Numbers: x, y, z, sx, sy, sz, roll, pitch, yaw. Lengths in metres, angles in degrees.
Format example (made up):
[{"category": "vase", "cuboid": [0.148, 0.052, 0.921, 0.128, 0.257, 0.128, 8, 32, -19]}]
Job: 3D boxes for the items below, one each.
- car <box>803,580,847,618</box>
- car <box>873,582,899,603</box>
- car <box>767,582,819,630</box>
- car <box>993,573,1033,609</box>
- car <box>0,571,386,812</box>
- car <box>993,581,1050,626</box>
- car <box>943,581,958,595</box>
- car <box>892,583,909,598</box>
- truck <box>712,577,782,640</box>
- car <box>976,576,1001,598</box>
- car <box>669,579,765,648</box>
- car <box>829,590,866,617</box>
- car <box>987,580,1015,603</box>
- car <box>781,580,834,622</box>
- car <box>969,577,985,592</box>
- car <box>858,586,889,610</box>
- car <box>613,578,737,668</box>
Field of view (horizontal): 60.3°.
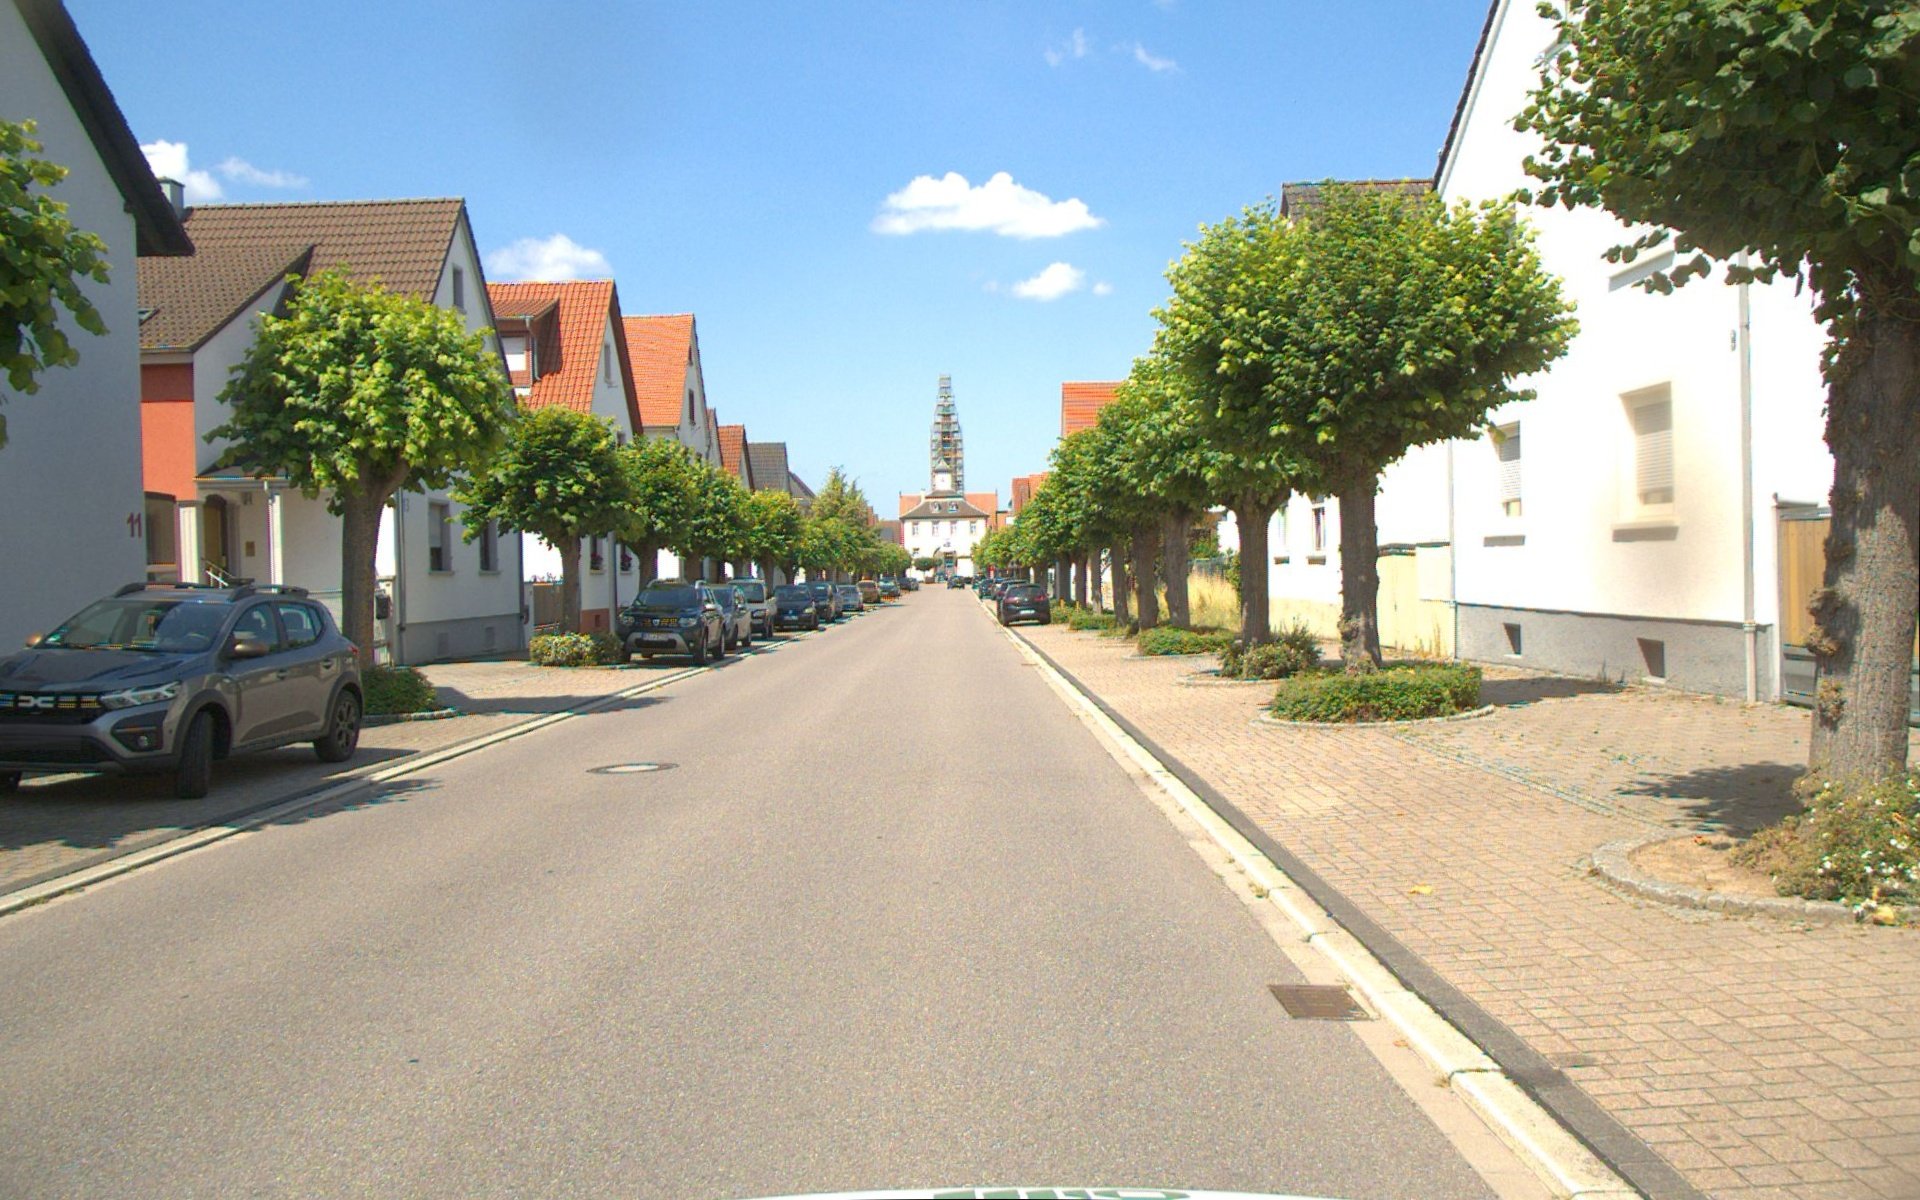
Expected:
[{"category": "car", "cuboid": [-6.219, -0.058, 76.765, 1.954, 1.681, 4.364, 0, 1, -4]}, {"category": "car", "cuboid": [-6.340, -0.665, 142.809, 1.952, 1.639, 4.690, 1, 1, 1]}, {"category": "car", "cuboid": [-5.913, 0.196, 58.600, 1.751, 1.662, 3.995, 0, 0, -6]}, {"category": "car", "cuboid": [2.604, -0.468, 80.655, 1.786, 1.613, 4.059, -3, 1, 4]}, {"category": "car", "cuboid": [-6.371, 0.607, 13.475, 1.814, 1.641, 4.136, 1, 0, 2]}, {"category": "car", "cuboid": [2.167, 0.097, 59.139, 1.787, 1.457, 4.057, -3, 1, 0]}, {"category": "car", "cuboid": [-1.072, -1.358, 192.379, 1.694, 1.574, 3.455, 1, 0, 0]}, {"category": "car", "cuboid": [-6.648, -1.090, 185.818, 1.721, 1.582, 4.020, -1, 1, 0]}, {"category": "truck", "cuboid": [-6.386, 0.222, 49.957, 1.544, 1.796, 4.192, 1, 0, 0]}, {"category": "car", "cuboid": [2.210, -1.042, 128.724, 1.800, 1.582, 4.313, -3, 1, -1]}, {"category": "car", "cuboid": [-6.137, 0.332, 42.211, 1.815, 1.641, 4.370, 1, 0, 0]}, {"category": "car", "cuboid": [-6.183, 0.164, 91.404, 1.803, 1.420, 4.406, 0, 1, -1]}, {"category": "car", "cuboid": [3.005, -0.607, 121.251, 1.800, 1.635, 3.999, -1, 1, -2]}, {"category": "car", "cuboid": [-6.172, 0.038, 67.291, 1.815, 1.664, 4.056, 1, 0, 0]}, {"category": "car", "cuboid": [1.996, -1.820, 191.543, 1.800, 1.582, 4.314, -3, 1, 0]}, {"category": "car", "cuboid": [-6.325, -0.169, 121.194, 1.952, 1.639, 4.689, 0, 1, 1]}, {"category": "car", "cuboid": [-5.826, 0.425, 34.237, 1.815, 1.665, 4.299, 1, 1, 0]}]
